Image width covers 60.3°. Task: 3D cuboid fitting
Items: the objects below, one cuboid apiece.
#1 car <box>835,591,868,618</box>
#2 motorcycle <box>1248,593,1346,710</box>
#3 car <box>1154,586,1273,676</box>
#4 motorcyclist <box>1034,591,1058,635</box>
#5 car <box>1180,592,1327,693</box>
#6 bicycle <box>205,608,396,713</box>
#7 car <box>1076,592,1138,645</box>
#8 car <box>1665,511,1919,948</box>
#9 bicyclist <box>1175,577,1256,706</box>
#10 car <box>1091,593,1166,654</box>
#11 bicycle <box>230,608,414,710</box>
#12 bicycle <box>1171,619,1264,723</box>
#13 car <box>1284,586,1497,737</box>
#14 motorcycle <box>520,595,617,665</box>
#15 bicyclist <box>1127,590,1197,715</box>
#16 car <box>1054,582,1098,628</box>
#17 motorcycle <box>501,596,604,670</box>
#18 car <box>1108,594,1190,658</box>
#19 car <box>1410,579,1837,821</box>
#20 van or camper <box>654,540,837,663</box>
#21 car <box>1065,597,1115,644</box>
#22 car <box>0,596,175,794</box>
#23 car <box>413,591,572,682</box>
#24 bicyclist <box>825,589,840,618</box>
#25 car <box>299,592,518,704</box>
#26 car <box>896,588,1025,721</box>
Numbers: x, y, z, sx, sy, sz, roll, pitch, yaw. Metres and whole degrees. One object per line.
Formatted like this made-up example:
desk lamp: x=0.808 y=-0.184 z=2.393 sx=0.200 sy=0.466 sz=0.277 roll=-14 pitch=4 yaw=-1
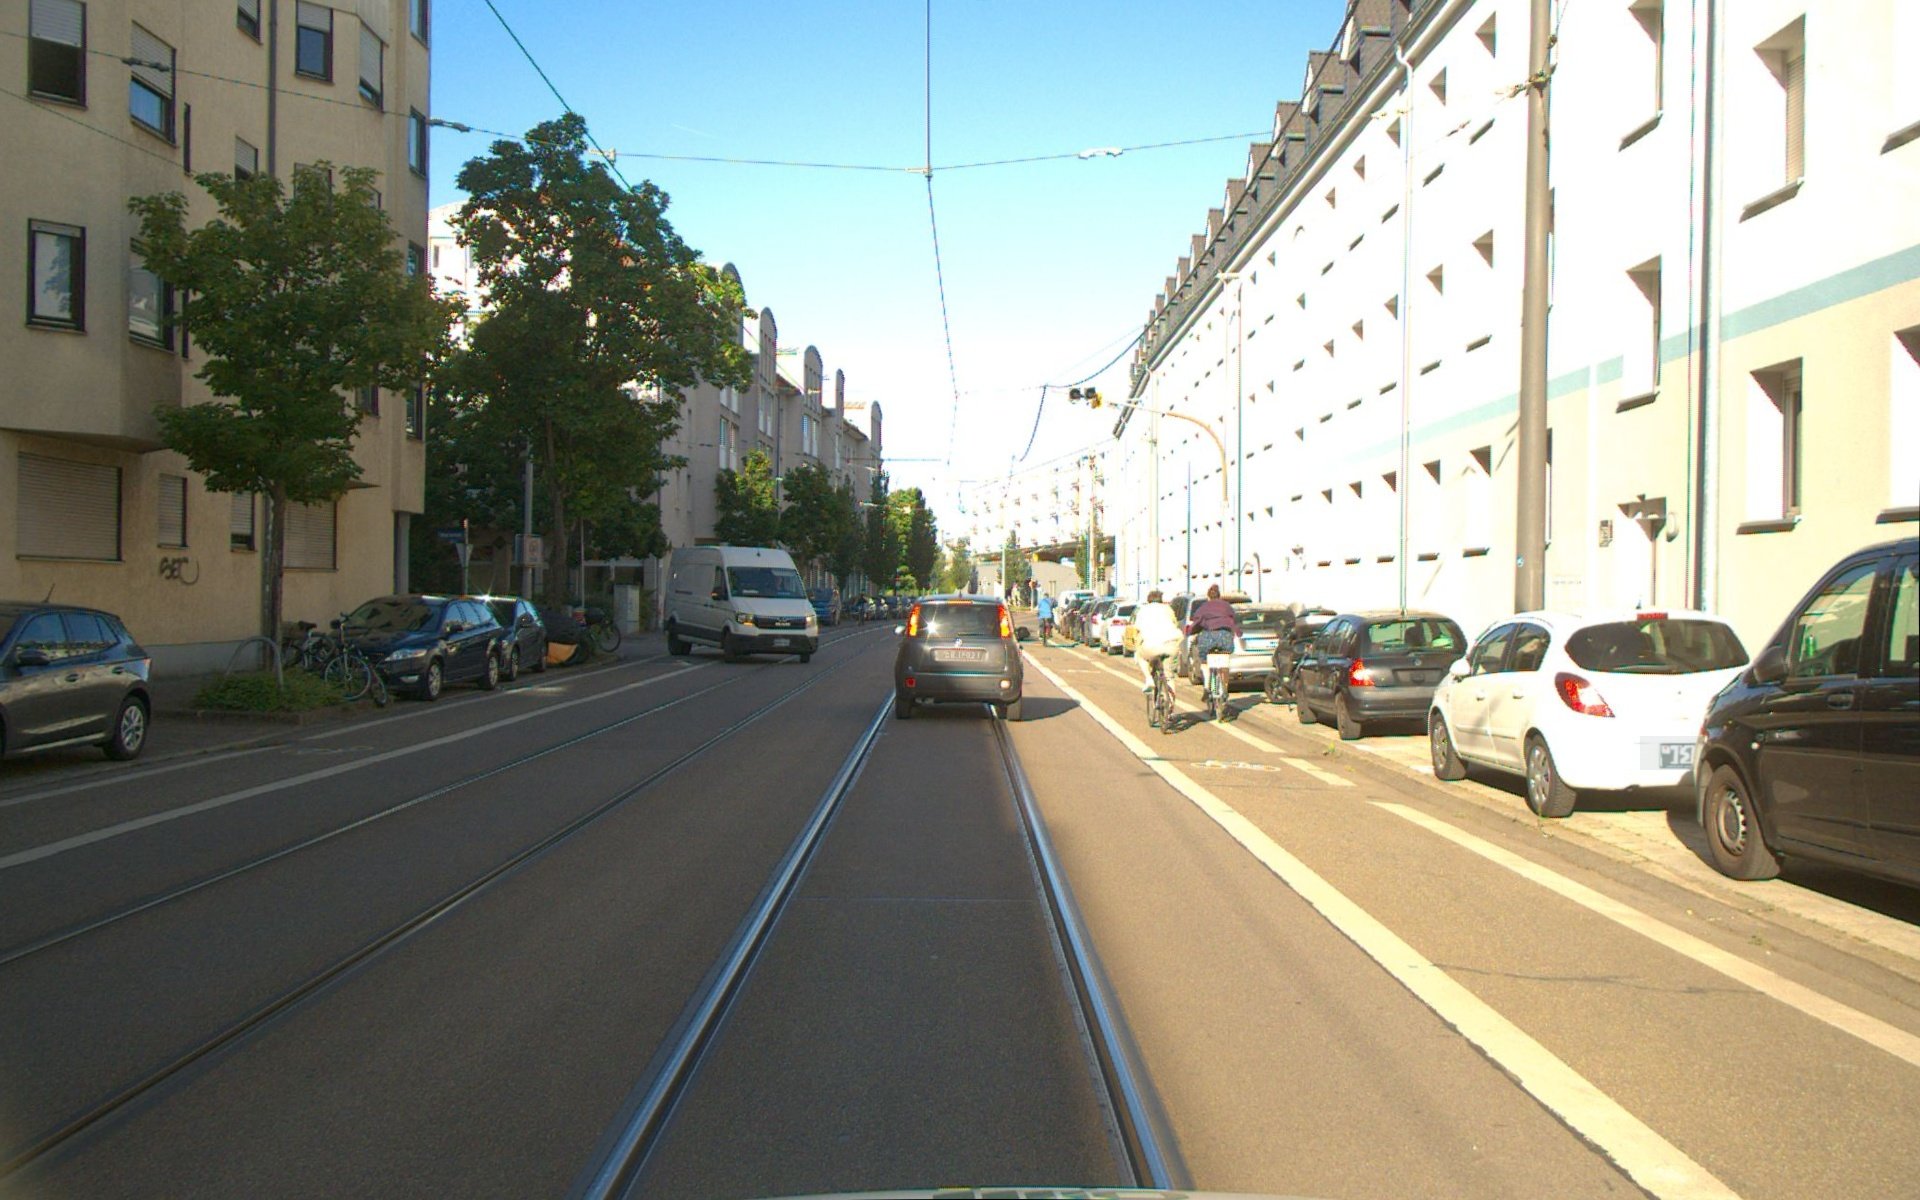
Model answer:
car: x=-6.735 y=0.285 z=103.027 sx=1.630 sy=1.646 sz=4.001 roll=0 pitch=0 yaw=2
motorcycle: x=4.740 y=0.682 z=23.465 sx=0.789 sy=1.548 sz=2.708 roll=0 pitch=0 yaw=-1
car: x=5.179 y=0.589 z=34.355 sx=1.719 sy=1.694 sz=4.626 roll=-1 pitch=0 yaw=0
motorcyclist: x=2.832 y=0.413 z=54.683 sx=0.713 sy=1.430 sz=1.020 roll=0 pitch=0 yaw=-1
car: x=5.000 y=0.674 z=28.694 sx=1.825 sy=1.582 sz=4.367 roll=-1 pitch=0 yaw=1
bicycle: x=-8.782 y=0.799 z=22.072 sx=2.246 sy=1.357 sz=0.699 roll=0 pitch=0 yaw=-1
car: x=4.839 y=0.572 z=54.859 sx=1.718 sy=1.598 sz=3.904 roll=-3 pitch=0 yaw=1
car: x=5.231 y=0.559 z=7.595 sx=1.889 sy=1.954 sz=5.004 roll=-1 pitch=0 yaw=1
bicyclist: x=3.430 y=0.546 z=22.296 sx=0.915 sy=1.705 sz=0.969 roll=0 pitch=0 yaw=-1
car: x=4.766 y=0.627 z=47.243 sx=1.645 sy=1.598 sz=4.509 roll=-1 pitch=0 yaw=0
bicycle: x=-8.777 y=0.802 z=22.804 sx=2.246 sy=1.357 sz=0.699 roll=0 pitch=0 yaw=-1
bicycle: x=3.430 y=0.924 z=22.279 sx=0.804 sy=1.258 sz=2.462 roll=2 pitch=0 yaw=-1
car: x=5.030 y=0.658 z=19.815 sx=1.575 sy=1.598 sz=3.904 roll=-1 pitch=0 yaw=1
motorcycle: x=-8.310 y=0.640 z=35.179 sx=1.931 sy=1.472 sz=0.719 roll=0 pitch=0 yaw=-7
bicyclist: x=2.447 y=0.621 z=20.113 sx=0.713 sy=1.487 sz=1.020 roll=0 pitch=0 yaw=-1
car: x=5.239 y=0.211 z=75.157 sx=1.750 sy=2.005 sz=4.155 roll=-1 pitch=0 yaw=1
motorcycle: x=-8.313 y=0.666 z=33.802 sx=1.931 sy=1.472 sz=0.835 roll=0 pitch=0 yaw=-7
car: x=4.854 y=0.633 z=42.915 sx=1.483 sy=1.455 sz=4.201 roll=-6 pitch=0 yaw=-1
car: x=5.041 y=0.671 z=13.192 sx=1.764 sy=1.598 sz=3.903 roll=-1 pitch=0 yaw=-1
van or camper: x=-5.161 y=0.015 z=38.754 sx=2.339 sy=2.598 sz=6.781 roll=0 pitch=0 yaw=-25
car: x=4.646 y=0.715 z=59.478 sx=1.558 sy=1.564 sz=4.008 roll=-2 pitch=0 yaw=1
car: x=-8.588 y=0.766 z=14.211 sx=1.729 sy=1.498 sz=4.041 roll=3 pitch=0 yaw=-1
car: x=-8.619 y=0.626 z=30.846 sx=1.699 sy=1.569 sz=4.130 roll=0 pitch=0 yaw=1
bicyclist: x=-6.425 y=0.163 z=83.333 sx=0.610 sy=1.404 sz=0.868 roll=-4 pitch=0 yaw=0
car: x=-8.411 y=0.667 z=25.688 sx=1.728 sy=1.569 sz=4.734 roll=0 pitch=0 yaw=1
car: x=0.061 y=0.642 z=21.385 sx=1.524 sy=1.560 sz=3.487 roll=0 pitch=0 yaw=2
